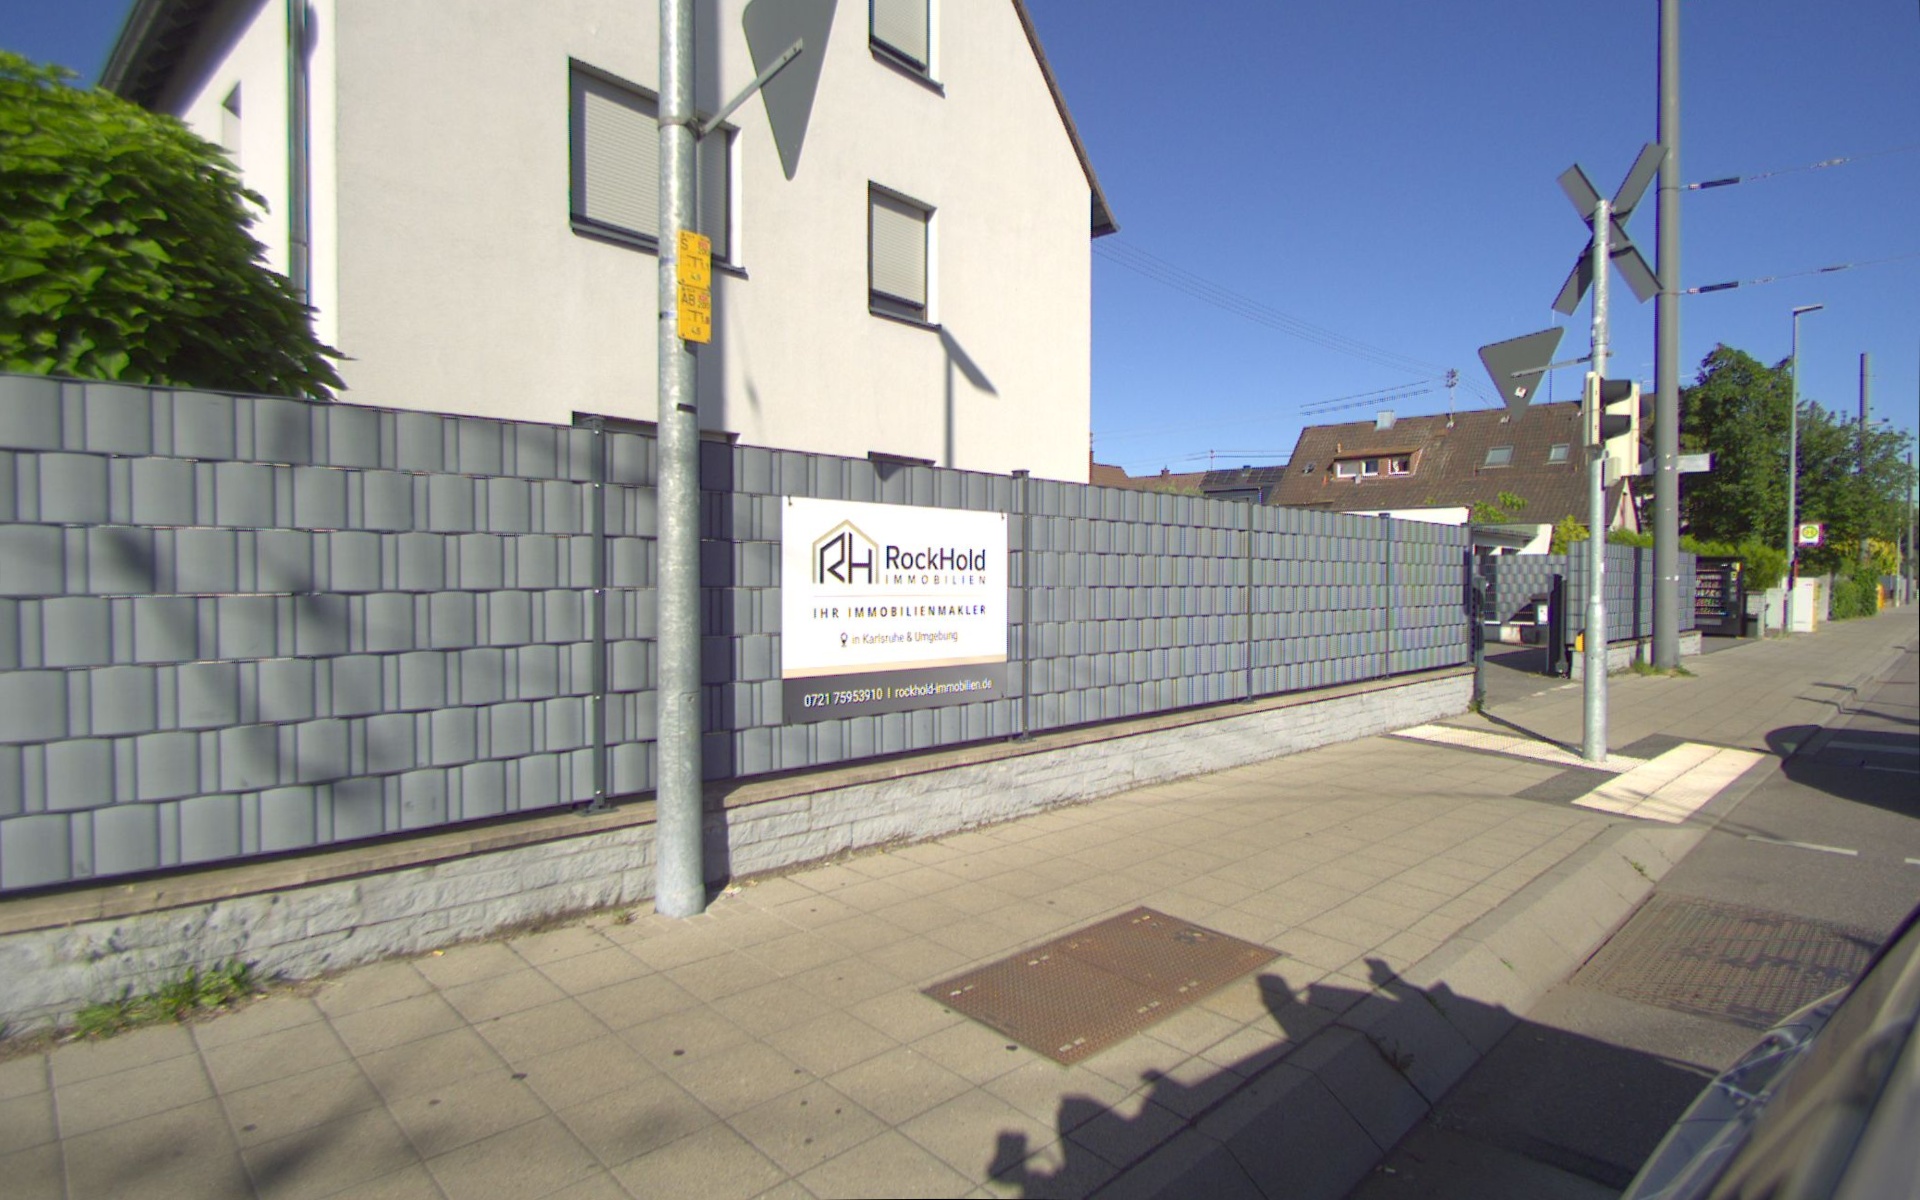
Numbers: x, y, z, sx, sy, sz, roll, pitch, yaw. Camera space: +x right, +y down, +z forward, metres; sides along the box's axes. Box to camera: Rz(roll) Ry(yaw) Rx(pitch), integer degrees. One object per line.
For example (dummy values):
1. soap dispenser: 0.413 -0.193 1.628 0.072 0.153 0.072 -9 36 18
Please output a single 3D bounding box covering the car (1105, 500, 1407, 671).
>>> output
1. car: 4.787 -0.303 17.230 1.960 2.461 4.999 -2 2 -29
